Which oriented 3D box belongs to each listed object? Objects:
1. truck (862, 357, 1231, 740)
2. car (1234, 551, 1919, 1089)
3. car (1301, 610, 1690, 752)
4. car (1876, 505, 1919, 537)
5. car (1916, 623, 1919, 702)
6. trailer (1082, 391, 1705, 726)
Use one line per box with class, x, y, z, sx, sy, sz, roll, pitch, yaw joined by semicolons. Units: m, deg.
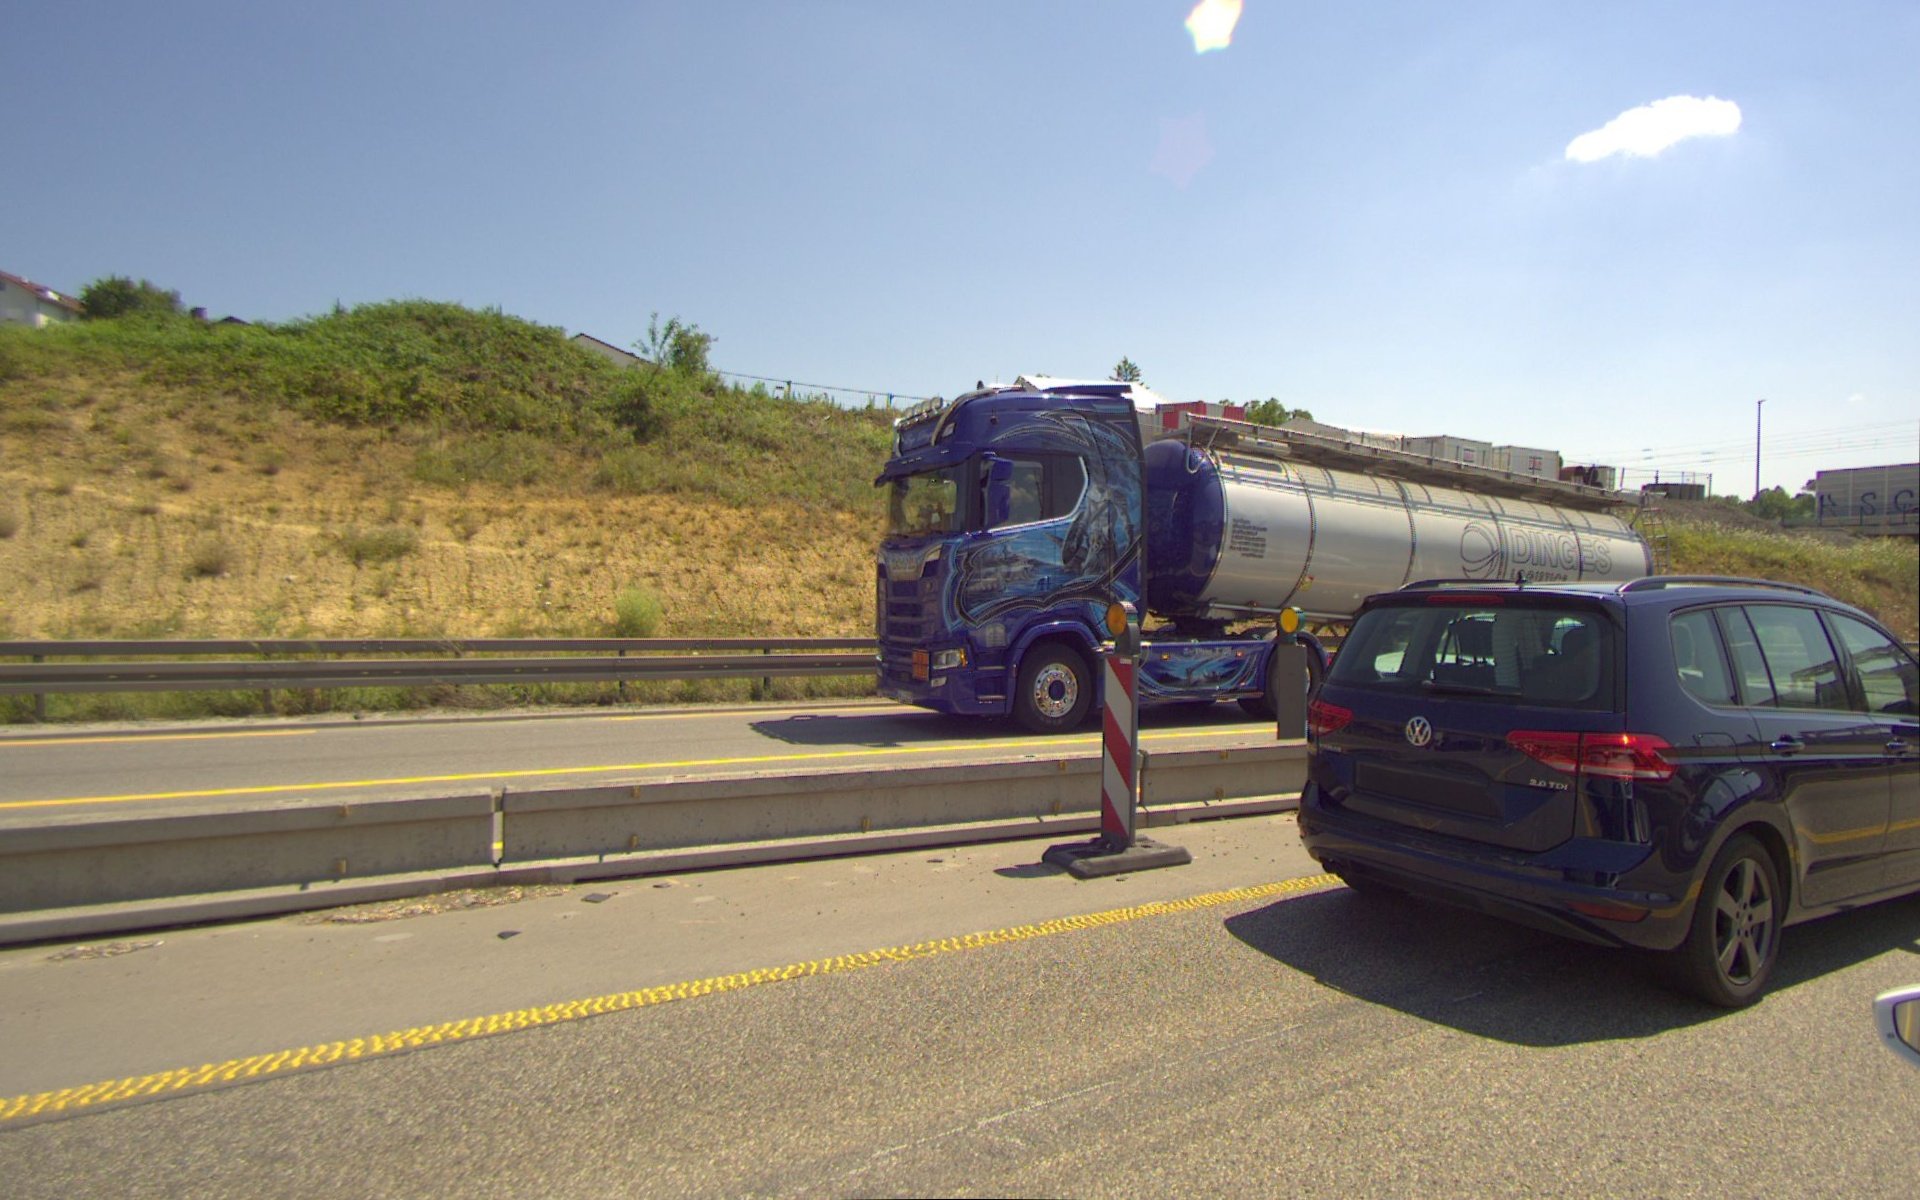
truck;1.055;-0.534;12.626;3.948;4.069;2.349;1;1;-27
car;3.708;0.687;5.205;4.599;1.741;1.766;0;1;-31
car;6.453;0.861;12.031;4.523;1.402;1.811;1;0;-26
car;59.395;-4.893;61.457;1.929;1.807;4.550;1;0;-18
car;19.928;1.185;18.817;4.106;1.465;1.825;1;0;-30
trailer;7.302;-0.448;15.845;11.301;4.069;2.339;1;1;-27
